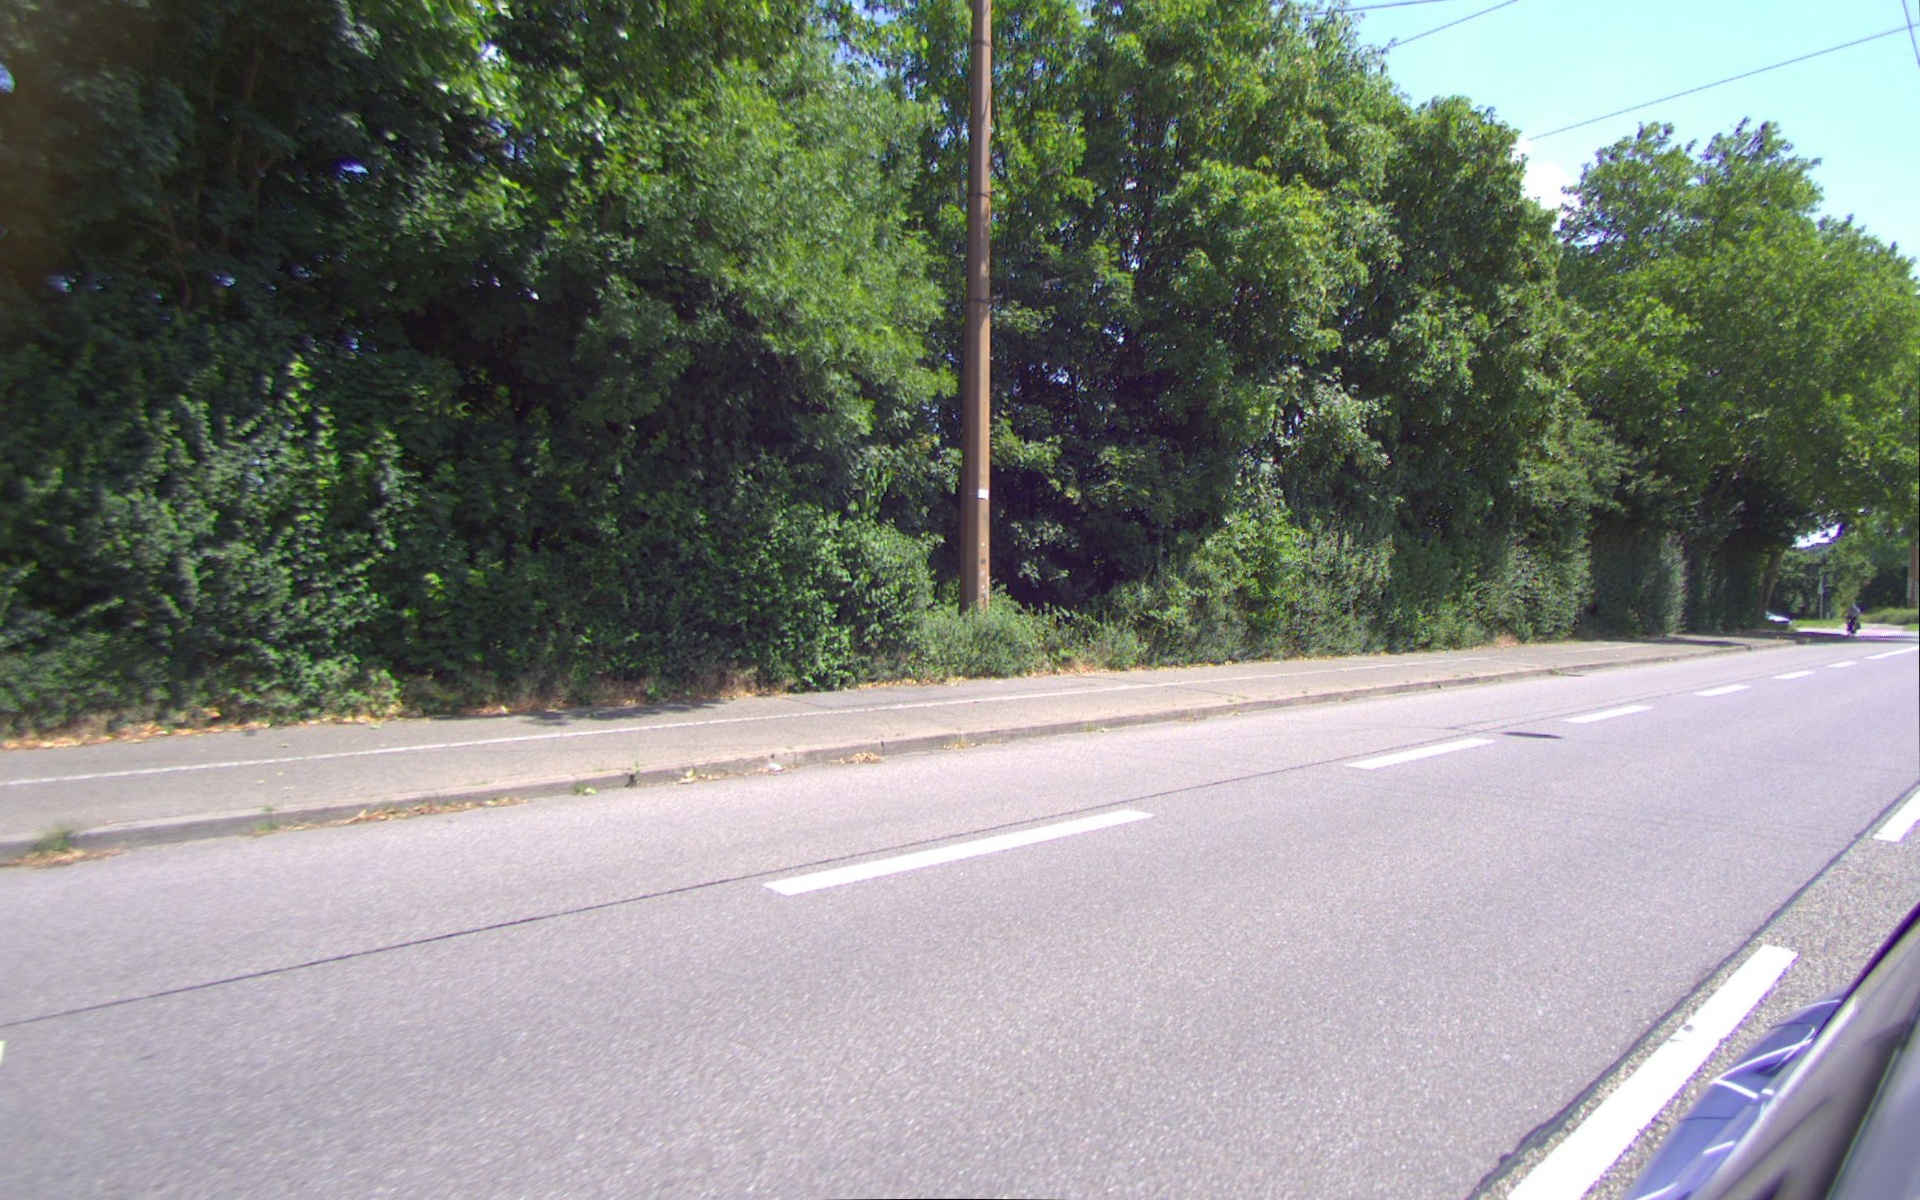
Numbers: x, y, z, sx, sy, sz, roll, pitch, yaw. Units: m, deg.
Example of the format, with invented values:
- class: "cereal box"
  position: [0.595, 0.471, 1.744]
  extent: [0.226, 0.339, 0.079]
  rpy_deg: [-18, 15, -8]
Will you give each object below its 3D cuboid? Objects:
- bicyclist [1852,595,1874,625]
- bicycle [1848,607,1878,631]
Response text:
- class: "bicyclist"
  position: [45.292, 0.480, 50.777]
  extent: [0.629, 1.457, 0.704]
  rpy_deg: [0, 1, -39]
- class: "bicycle"
  position: [45.388, 0.963, 50.872]
  extent: [2.492, 1.152, 0.710]
  rpy_deg: [0, 1, -39]
